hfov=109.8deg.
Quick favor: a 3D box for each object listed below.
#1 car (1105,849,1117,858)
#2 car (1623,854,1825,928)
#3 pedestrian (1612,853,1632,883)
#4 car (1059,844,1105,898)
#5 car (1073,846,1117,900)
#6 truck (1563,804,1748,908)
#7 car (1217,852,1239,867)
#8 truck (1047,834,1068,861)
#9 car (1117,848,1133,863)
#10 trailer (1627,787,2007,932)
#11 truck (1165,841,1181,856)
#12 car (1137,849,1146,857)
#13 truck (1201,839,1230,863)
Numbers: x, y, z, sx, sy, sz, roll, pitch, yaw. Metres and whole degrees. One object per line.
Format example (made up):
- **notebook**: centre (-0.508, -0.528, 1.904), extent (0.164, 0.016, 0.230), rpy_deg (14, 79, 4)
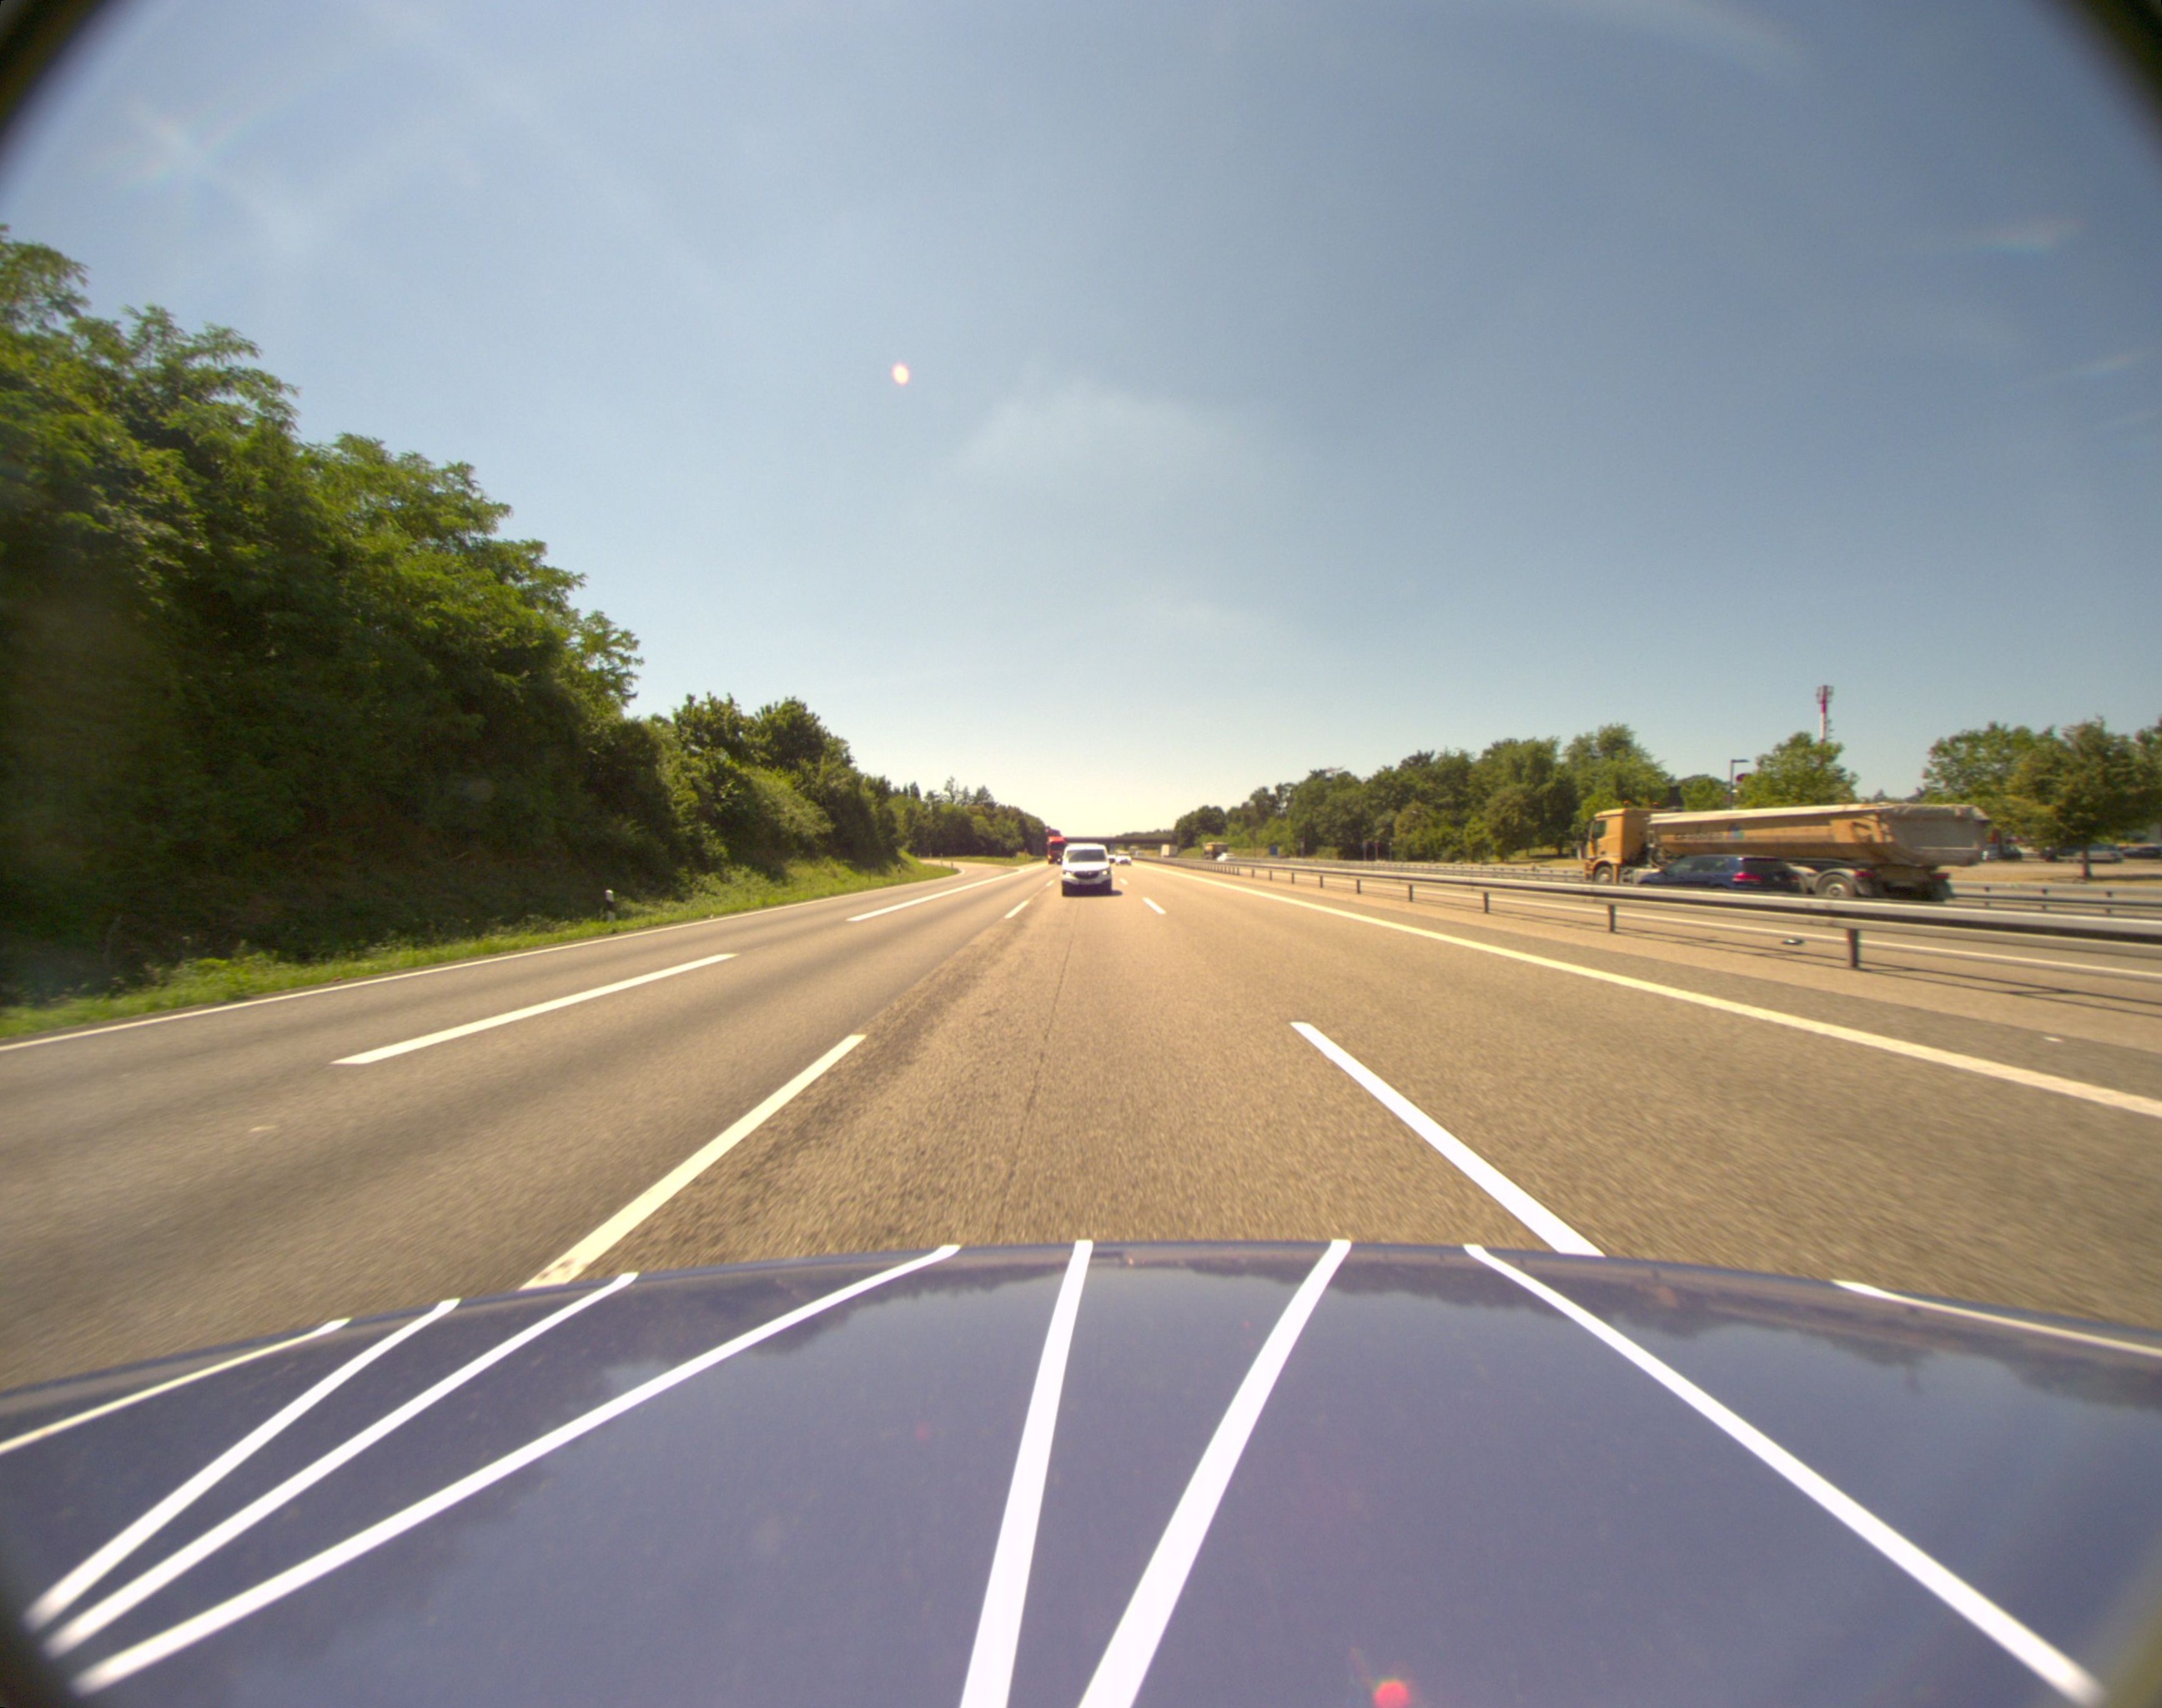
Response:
- **car**: centre (4.832, -0.123, 122.239), extent (1.775, 1.410, 3.401), rpy_deg (-2, 1, 2)
- **car**: centre (17.328, 0.902, 20.830), extent (1.750, 1.705, 4.484), rpy_deg (-2, 1, 1)
- **pedestrian**: centre (29.444, 0.771, 41.360), extent (0.645, 1.598, 0.656), rpy_deg (-2, 1, 12)
- **car**: centre (0.046, 0.575, 27.775), extent (1.501, 1.799, 3.394), rpy_deg (-2, 1, 1)
- **car**: centre (0.495, 0.631, 27.573), extent (1.413, 1.795, 3.200), rpy_deg (-2, 1, 1)
- **truck**: centre (21.704, 0.028, 29.146), extent (2.789, 3.495, 5.645), rpy_deg (-2, 1, 1)
- **car**: centre (18.401, 0.655, 95.228), extent (1.810, 1.703, 4.508), rpy_deg (-2, 1, 1)
- **truck**: centre (-3.295, -0.903, 107.425), extent (2.540, 3.656, 5.219), rpy_deg (-2, 1, 2)
- **car**: centre (4.870, 0.140, 84.353), extent (1.586, 1.497, 3.793), rpy_deg (-2, 1, 2)
- **trailer**: centre (21.609, 0.090, 23.514), extent (2.789, 3.495, 9.369), rpy_deg (-2, 1, 1)
- **truck**: centre (27.300, -1.669, 226.585), extent (3.401, 4.387, 11.332), rpy_deg (-2, 1, 1)
- **car**: centre (15.562, -0.327, 194.480), extent (1.971, 1.966, 3.982), rpy_deg (-2, 1, 1)
- **truck**: centre (22.882, -0.629, 129.525), extent (2.872, 3.792, 11.489), rpy_deg (-2, 1, 1)
